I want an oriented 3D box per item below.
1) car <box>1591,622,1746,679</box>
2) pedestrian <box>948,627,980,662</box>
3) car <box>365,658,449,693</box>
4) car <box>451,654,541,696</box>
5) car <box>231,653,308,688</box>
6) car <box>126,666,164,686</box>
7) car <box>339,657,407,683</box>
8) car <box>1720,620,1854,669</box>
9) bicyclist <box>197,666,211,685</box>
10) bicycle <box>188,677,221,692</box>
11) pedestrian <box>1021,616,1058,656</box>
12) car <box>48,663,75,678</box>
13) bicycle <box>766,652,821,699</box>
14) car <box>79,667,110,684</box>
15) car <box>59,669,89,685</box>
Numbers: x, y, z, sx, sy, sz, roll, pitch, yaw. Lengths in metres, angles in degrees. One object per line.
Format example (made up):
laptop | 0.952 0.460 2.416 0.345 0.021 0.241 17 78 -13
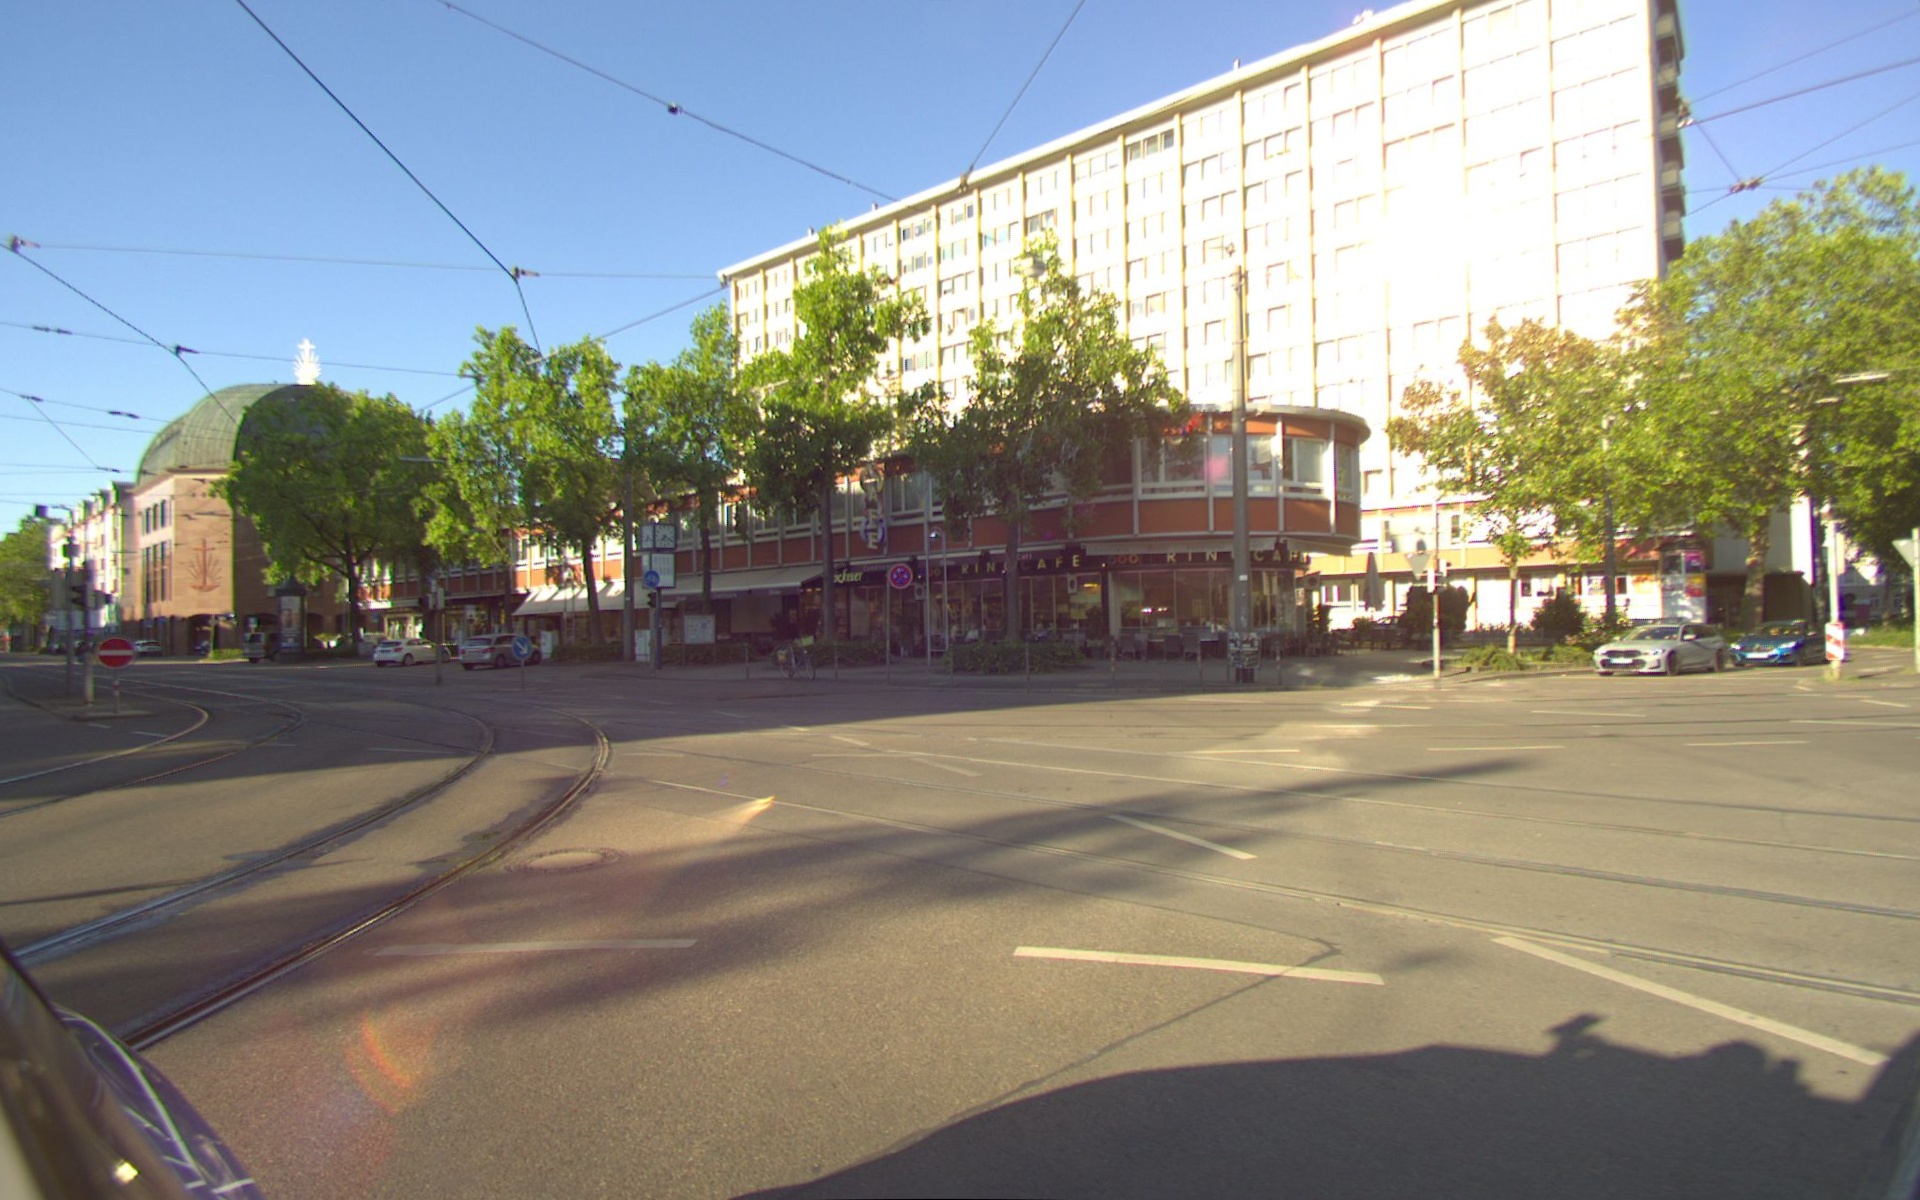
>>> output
car | 19.703 1.353 28.121 4.380 1.432 1.896 0 -2 -31
pedestrian | 0.140 1.673 38.116 0.826 1.272 0.910 0 -2 -32
car | -29.277 3.984 53.731 1.778 1.486 3.987 -2 0 11
car | -21.265 3.415 46.537 1.778 1.566 3.987 -2 0 11
car | -44.329 4.497 65.094 1.889 1.979 3.991 -2 0 7
car | -72.614 6.737 90.139 3.997 1.615 1.886 -2 0 41
car | -52.389 6.208 90.402 1.998 2.029 4.920 -3 -2 40
car | 26.212 1.374 32.068 4.380 1.432 1.896 0 -2 -31
bicyclist | -59.733 5.927 79.958 0.750 1.433 0.675 -1 -2 -23
bicycle | -59.692 6.680 79.957 2.003 1.100 0.675 -1 -2 -23
pedestrian | 2.840 1.277 36.172 0.891 1.407 0.923 -3 -2 44
car | -111.333 8.716 125.402 3.997 1.615 1.940 -2 0 41
bicycle | -4.758 2.139 28.844 0.574 1.244 1.859 -2 -1 -42
car | -92.664 8.094 108.323 3.997 1.615 1.940 -2 0 41
car | -97.824 8.499 111.775 3.997 1.615 1.940 -2 0 41
